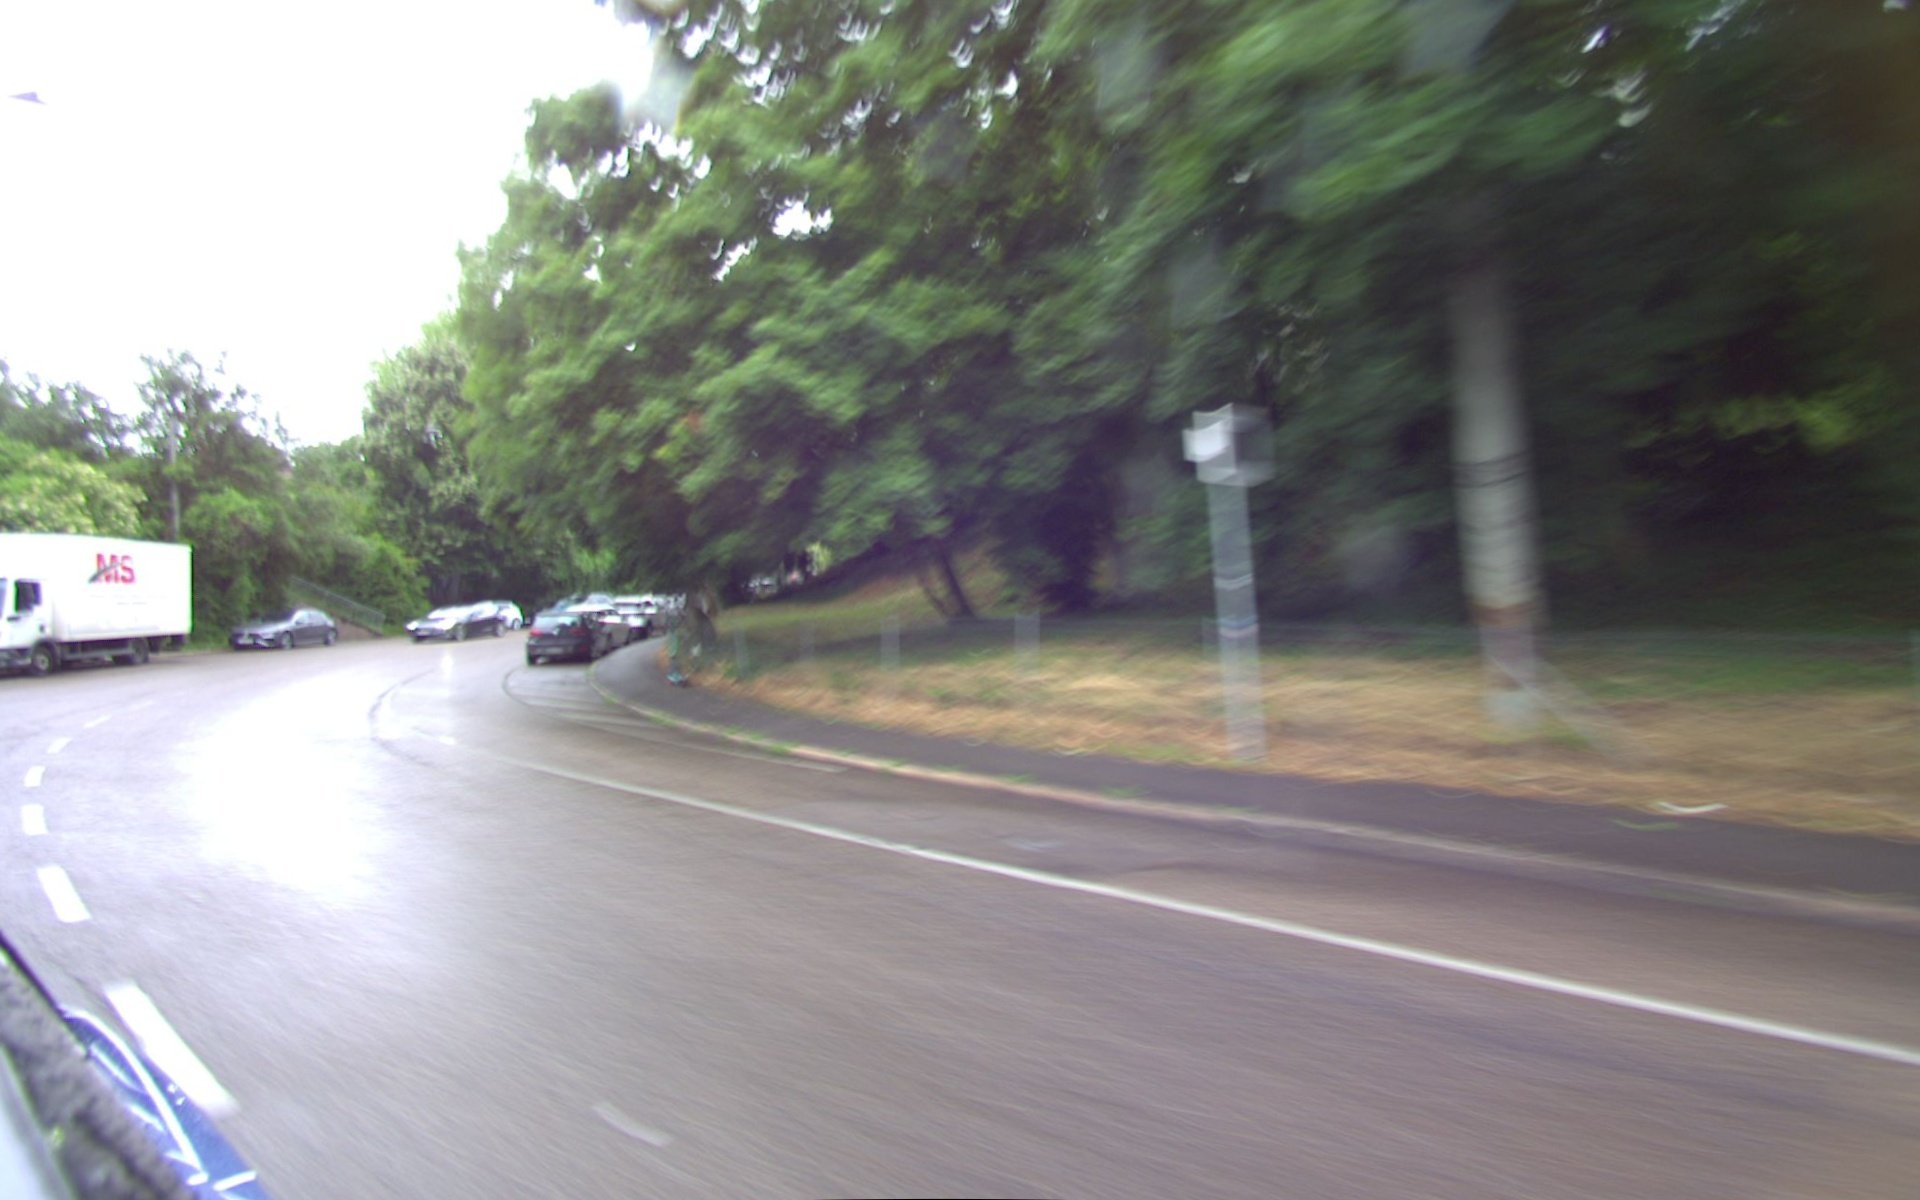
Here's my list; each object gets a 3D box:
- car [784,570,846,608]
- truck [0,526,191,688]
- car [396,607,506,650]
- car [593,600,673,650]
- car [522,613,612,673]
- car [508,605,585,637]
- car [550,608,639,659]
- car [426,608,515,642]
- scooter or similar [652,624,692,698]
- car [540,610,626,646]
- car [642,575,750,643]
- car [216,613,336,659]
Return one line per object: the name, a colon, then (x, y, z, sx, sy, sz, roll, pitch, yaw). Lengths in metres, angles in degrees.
car: (-8.188, -0.659, 57.688, 1.742, 1.780, 4.113, -4, 3, 18)
truck: (-23.712, 0.210, 26.249, 2.966, 3.601, 8.359, 0, -1, -14)
car: (-20.445, 1.098, 40.873, 1.876, 1.550, 4.493, -2, 0, 5)
car: (-12.471, 0.905, 38.845, 1.784, 1.594, 4.027, -2, 2, -1)
car: (-11.129, 1.165, 28.917, 1.749, 1.453, 4.025, -1, 1, -12)
car: (-22.508, 1.121, 55.242, 1.652, 1.435, 3.945, -4, 0, 18)
car: (-12.212, 1.068, 34.094, 1.731, 1.467, 4.051, -1, 1, -4)
car: (-24.185, 1.189, 50.133, 1.744, 1.411, 4.078, -4, 0, 14)
scooter or similar: (-5.561, 1.147, 19.503, 0.600, 1.277, 1.442, -5, 2, -18)
car: (-19.404, 1.432, 52.290, 1.981, 1.683, 4.510, -2, 0, 14)
car: (-11.802, 0.313, 45.819, 2.059, 2.568, 6.323, 3, 4, 12)
car: (-25.320, 1.295, 37.655, 1.701, 1.455, 4.126, -2, 0, -1)
